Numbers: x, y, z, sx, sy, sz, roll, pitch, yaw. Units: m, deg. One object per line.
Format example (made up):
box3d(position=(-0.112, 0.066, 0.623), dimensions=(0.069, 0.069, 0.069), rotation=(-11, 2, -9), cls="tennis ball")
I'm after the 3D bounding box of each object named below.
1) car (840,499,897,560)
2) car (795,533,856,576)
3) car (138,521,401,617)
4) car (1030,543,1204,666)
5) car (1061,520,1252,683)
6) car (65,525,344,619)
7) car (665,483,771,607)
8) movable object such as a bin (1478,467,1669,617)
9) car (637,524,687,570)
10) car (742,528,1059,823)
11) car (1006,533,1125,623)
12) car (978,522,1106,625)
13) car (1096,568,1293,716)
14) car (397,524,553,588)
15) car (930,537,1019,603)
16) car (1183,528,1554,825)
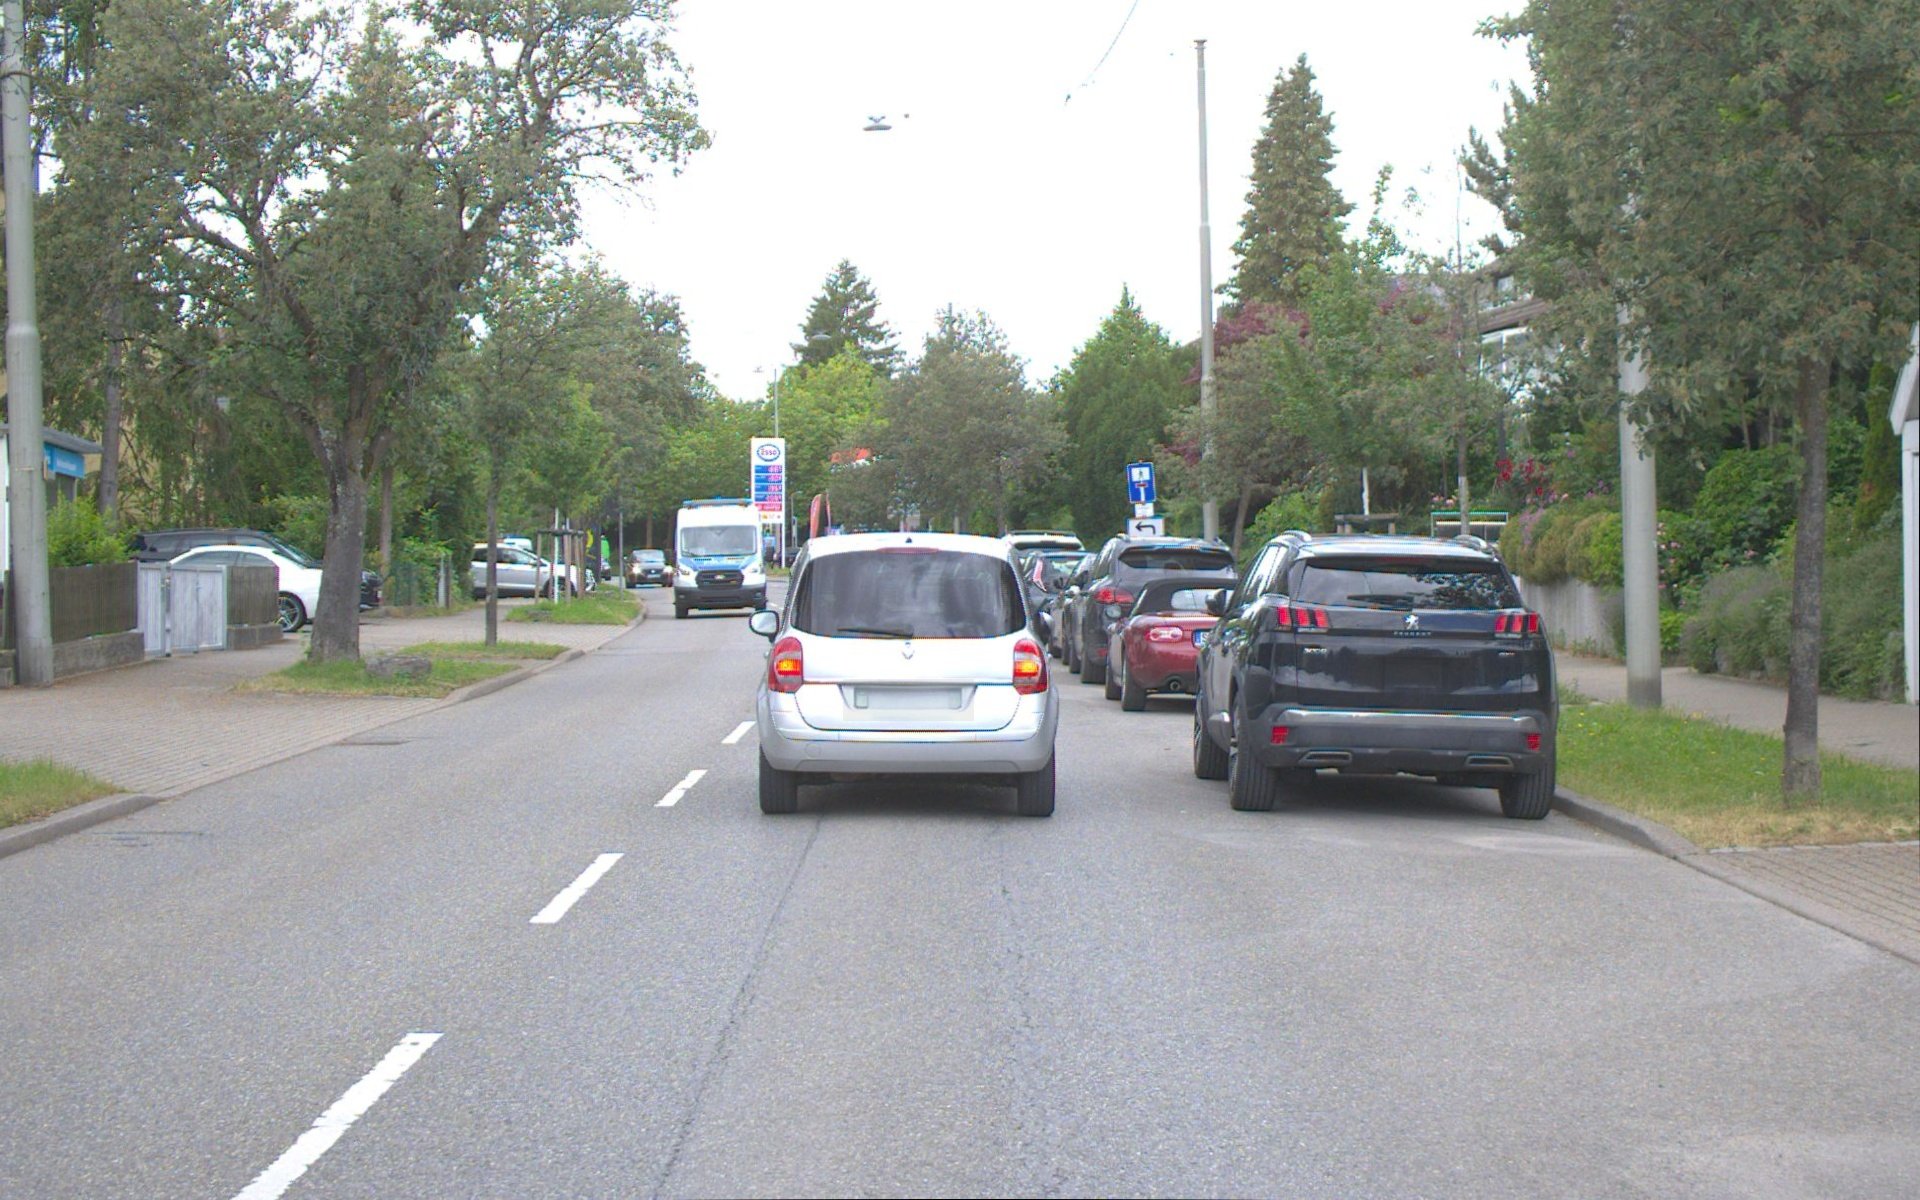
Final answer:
box3d(position=(-4.542, -3.488, 169.990), dimensions=(2.281, 2.901, 5.280), rotation=(1, 1, -7), cls="car")
box3d(position=(-4.873, -1.658, 124.114), dimensions=(1.695, 1.501, 3.974), rotation=(0, 1, -9), cls="car")
box3d(position=(-12.449, -0.561, 62.137), dimensions=(4.333, 1.612, 1.973), rotation=(1, 0, 0), cls="car")
box3d(position=(1.959, 0.018, 44.158), dimensions=(1.830, 1.452, 4.551), rotation=(1, 1, -2), cls="car")
box3d(position=(2.191, -0.024, 39.408), dimensions=(1.830, 1.706, 4.549), rotation=(2, 1, -1), cls="car")
box3d(position=(-12.306, -0.453, 56.220), dimensions=(4.277, 1.363, 1.817), rotation=(2, 0, -7), cls="car")
box3d(position=(-5.335, -1.220, 76.350), dimensions=(2.073, 2.573, 5.300), rotation=(-2, 1, -2), cls="car")
box3d(position=(8.597, -0.811, 48.267), dimensions=(2.310, 2.007, 1.344), rotation=(1, 1, -6), cls="movable object such as a bin")
box3d(position=(-11.545, -2.046, 133.114), dimensions=(1.835, 1.708, 4.001), rotation=(-1, 1, -5), cls="car")
box3d(position=(-0.324, 0.368, 20.165), dimensions=(1.679, 1.554, 3.512), rotation=(1, 1, 0), cls="car")
box3d(position=(1.750, -0.383, 57.924), dimensions=(1.558, 1.438, 3.507), rotation=(1, 1, -5), cls="car")
box3d(position=(1.468, -0.512, 63.108), dimensions=(1.799, 1.772, 4.706), rotation=(1, 1, -5), cls="car")
box3d(position=(2.170, 0.358, 32.630), dimensions=(1.481, 1.232, 3.884), rotation=(2, 1, -1), cls="car")
box3d(position=(-13.203, -1.204, 93.726), dimensions=(4.086, 1.700, 1.748), rotation=(0, 1, -3), cls="car")
box3d(position=(0.310, -0.708, 78.468), dimensions=(1.626, 1.447, 3.877), rotation=(1, 1, -6), cls="car")
box3d(position=(2.387, 0.390, 21.038), dimensions=(1.688, 1.603, 4.109), rotation=(1, 1, -1), cls="car")
